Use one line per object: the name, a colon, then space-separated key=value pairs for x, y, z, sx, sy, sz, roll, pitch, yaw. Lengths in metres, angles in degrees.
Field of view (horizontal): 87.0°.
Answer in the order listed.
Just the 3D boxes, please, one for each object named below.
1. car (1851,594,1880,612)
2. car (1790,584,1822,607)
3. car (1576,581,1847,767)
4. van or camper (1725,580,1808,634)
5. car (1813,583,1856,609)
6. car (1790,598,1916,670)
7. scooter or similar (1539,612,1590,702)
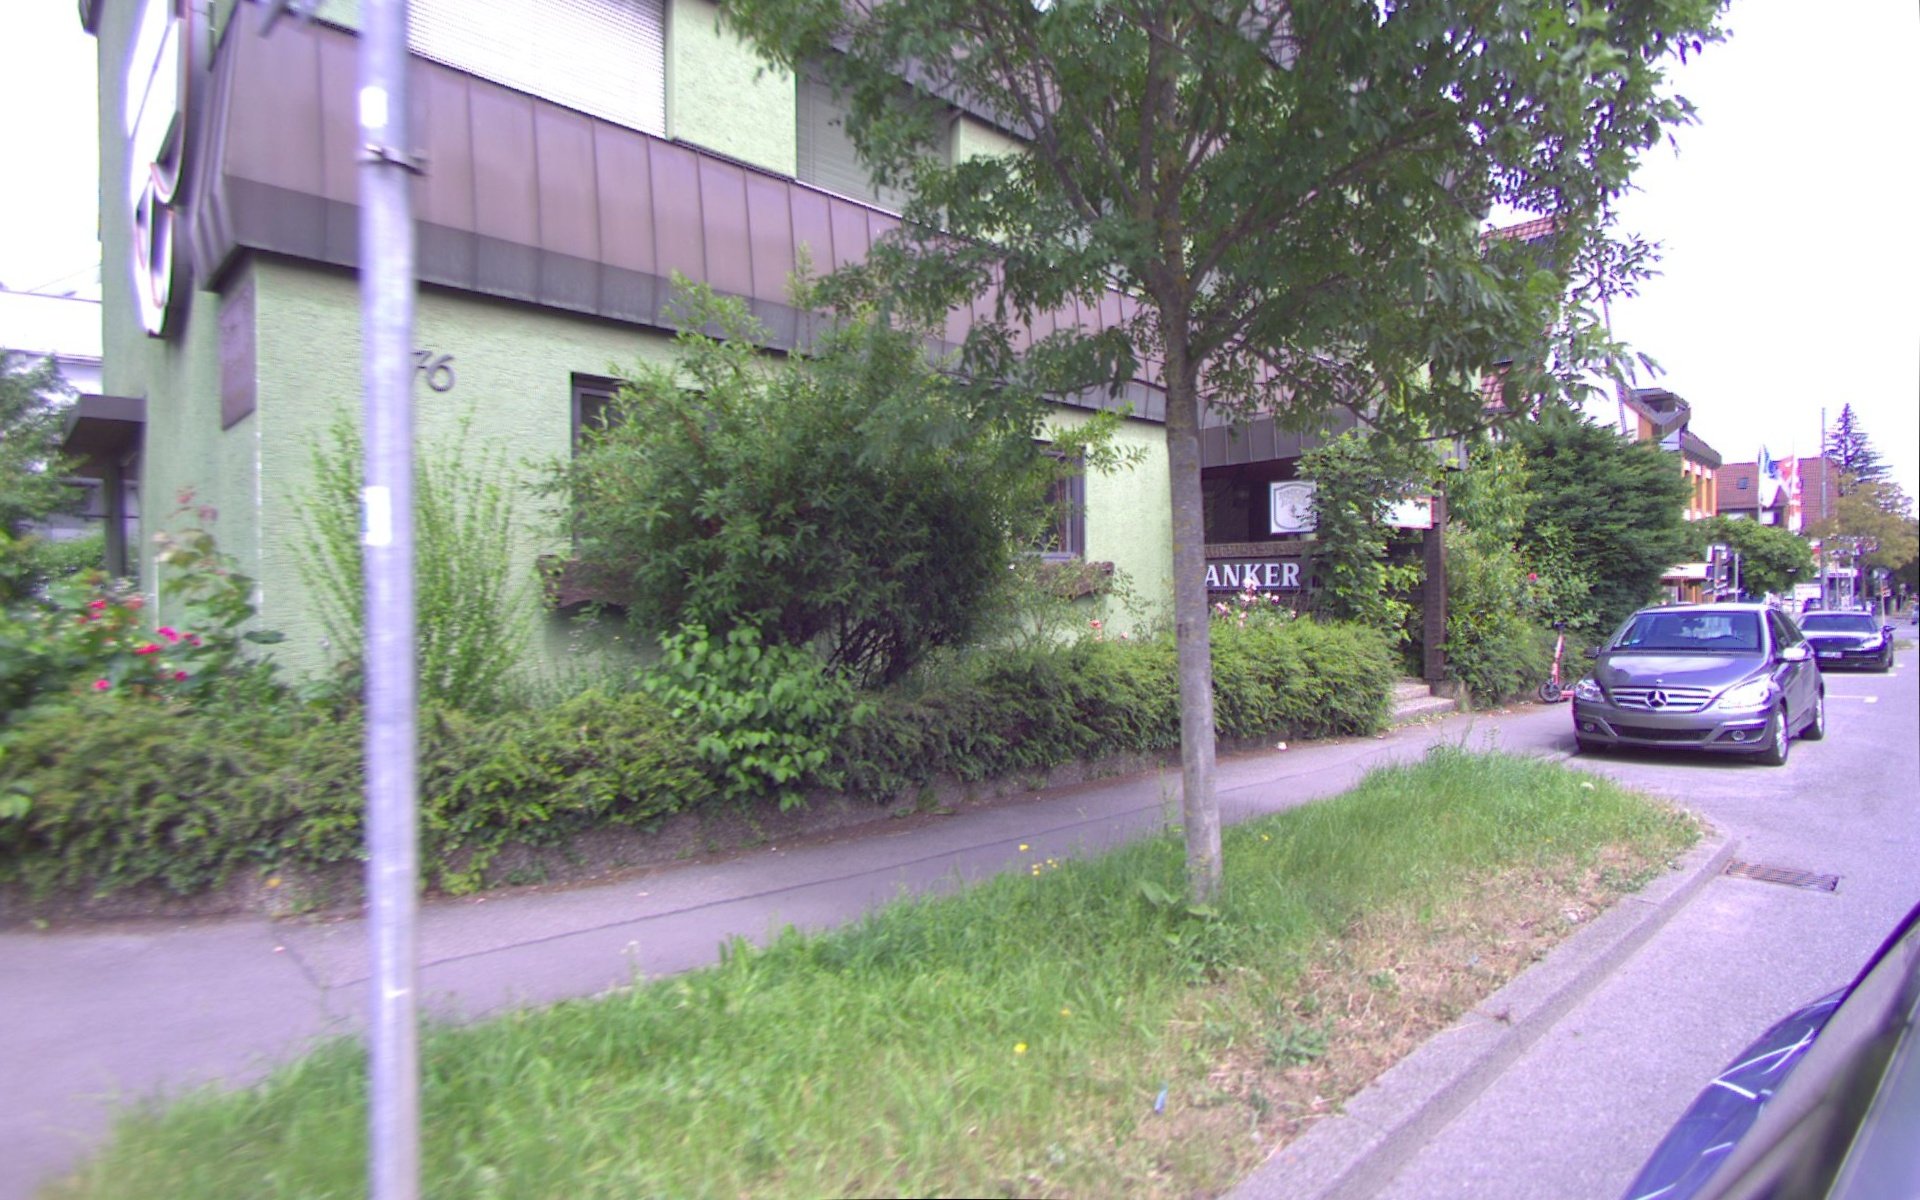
car: x=77.136 y=0.234 z=86.203 sx=1.784 sy=1.332 sz=4.414 roll=2 pitch=2 yaw=42
car: x=65.485 y=-0.390 z=78.331 sx=1.634 sy=1.546 sz=4.140 roll=5 pitch=5 yaw=42
car: x=8.530 y=0.687 z=11.324 sx=4.386 sy=1.687 sz=1.692 roll=1 pitch=0 yaw=-43
van or camper: x=32.994 y=0.247 z=41.361 sx=4.469 sy=2.057 sz=1.869 roll=-1 pitch=0 yaw=-42
car: x=60.347 y=-0.305 z=69.836 sx=4.088 sy=1.614 sz=1.619 roll=0 pitch=6 yaw=-42
car: x=21.536 y=0.740 z=24.339 sx=4.675 sy=1.466 sz=1.985 roll=-1 pitch=1 yaw=-45
scooter or similar: x=9.394 y=0.861 z=15.710 sx=0.301 sy=1.321 sz=1.381 roll=4 pitch=2 yaw=45
